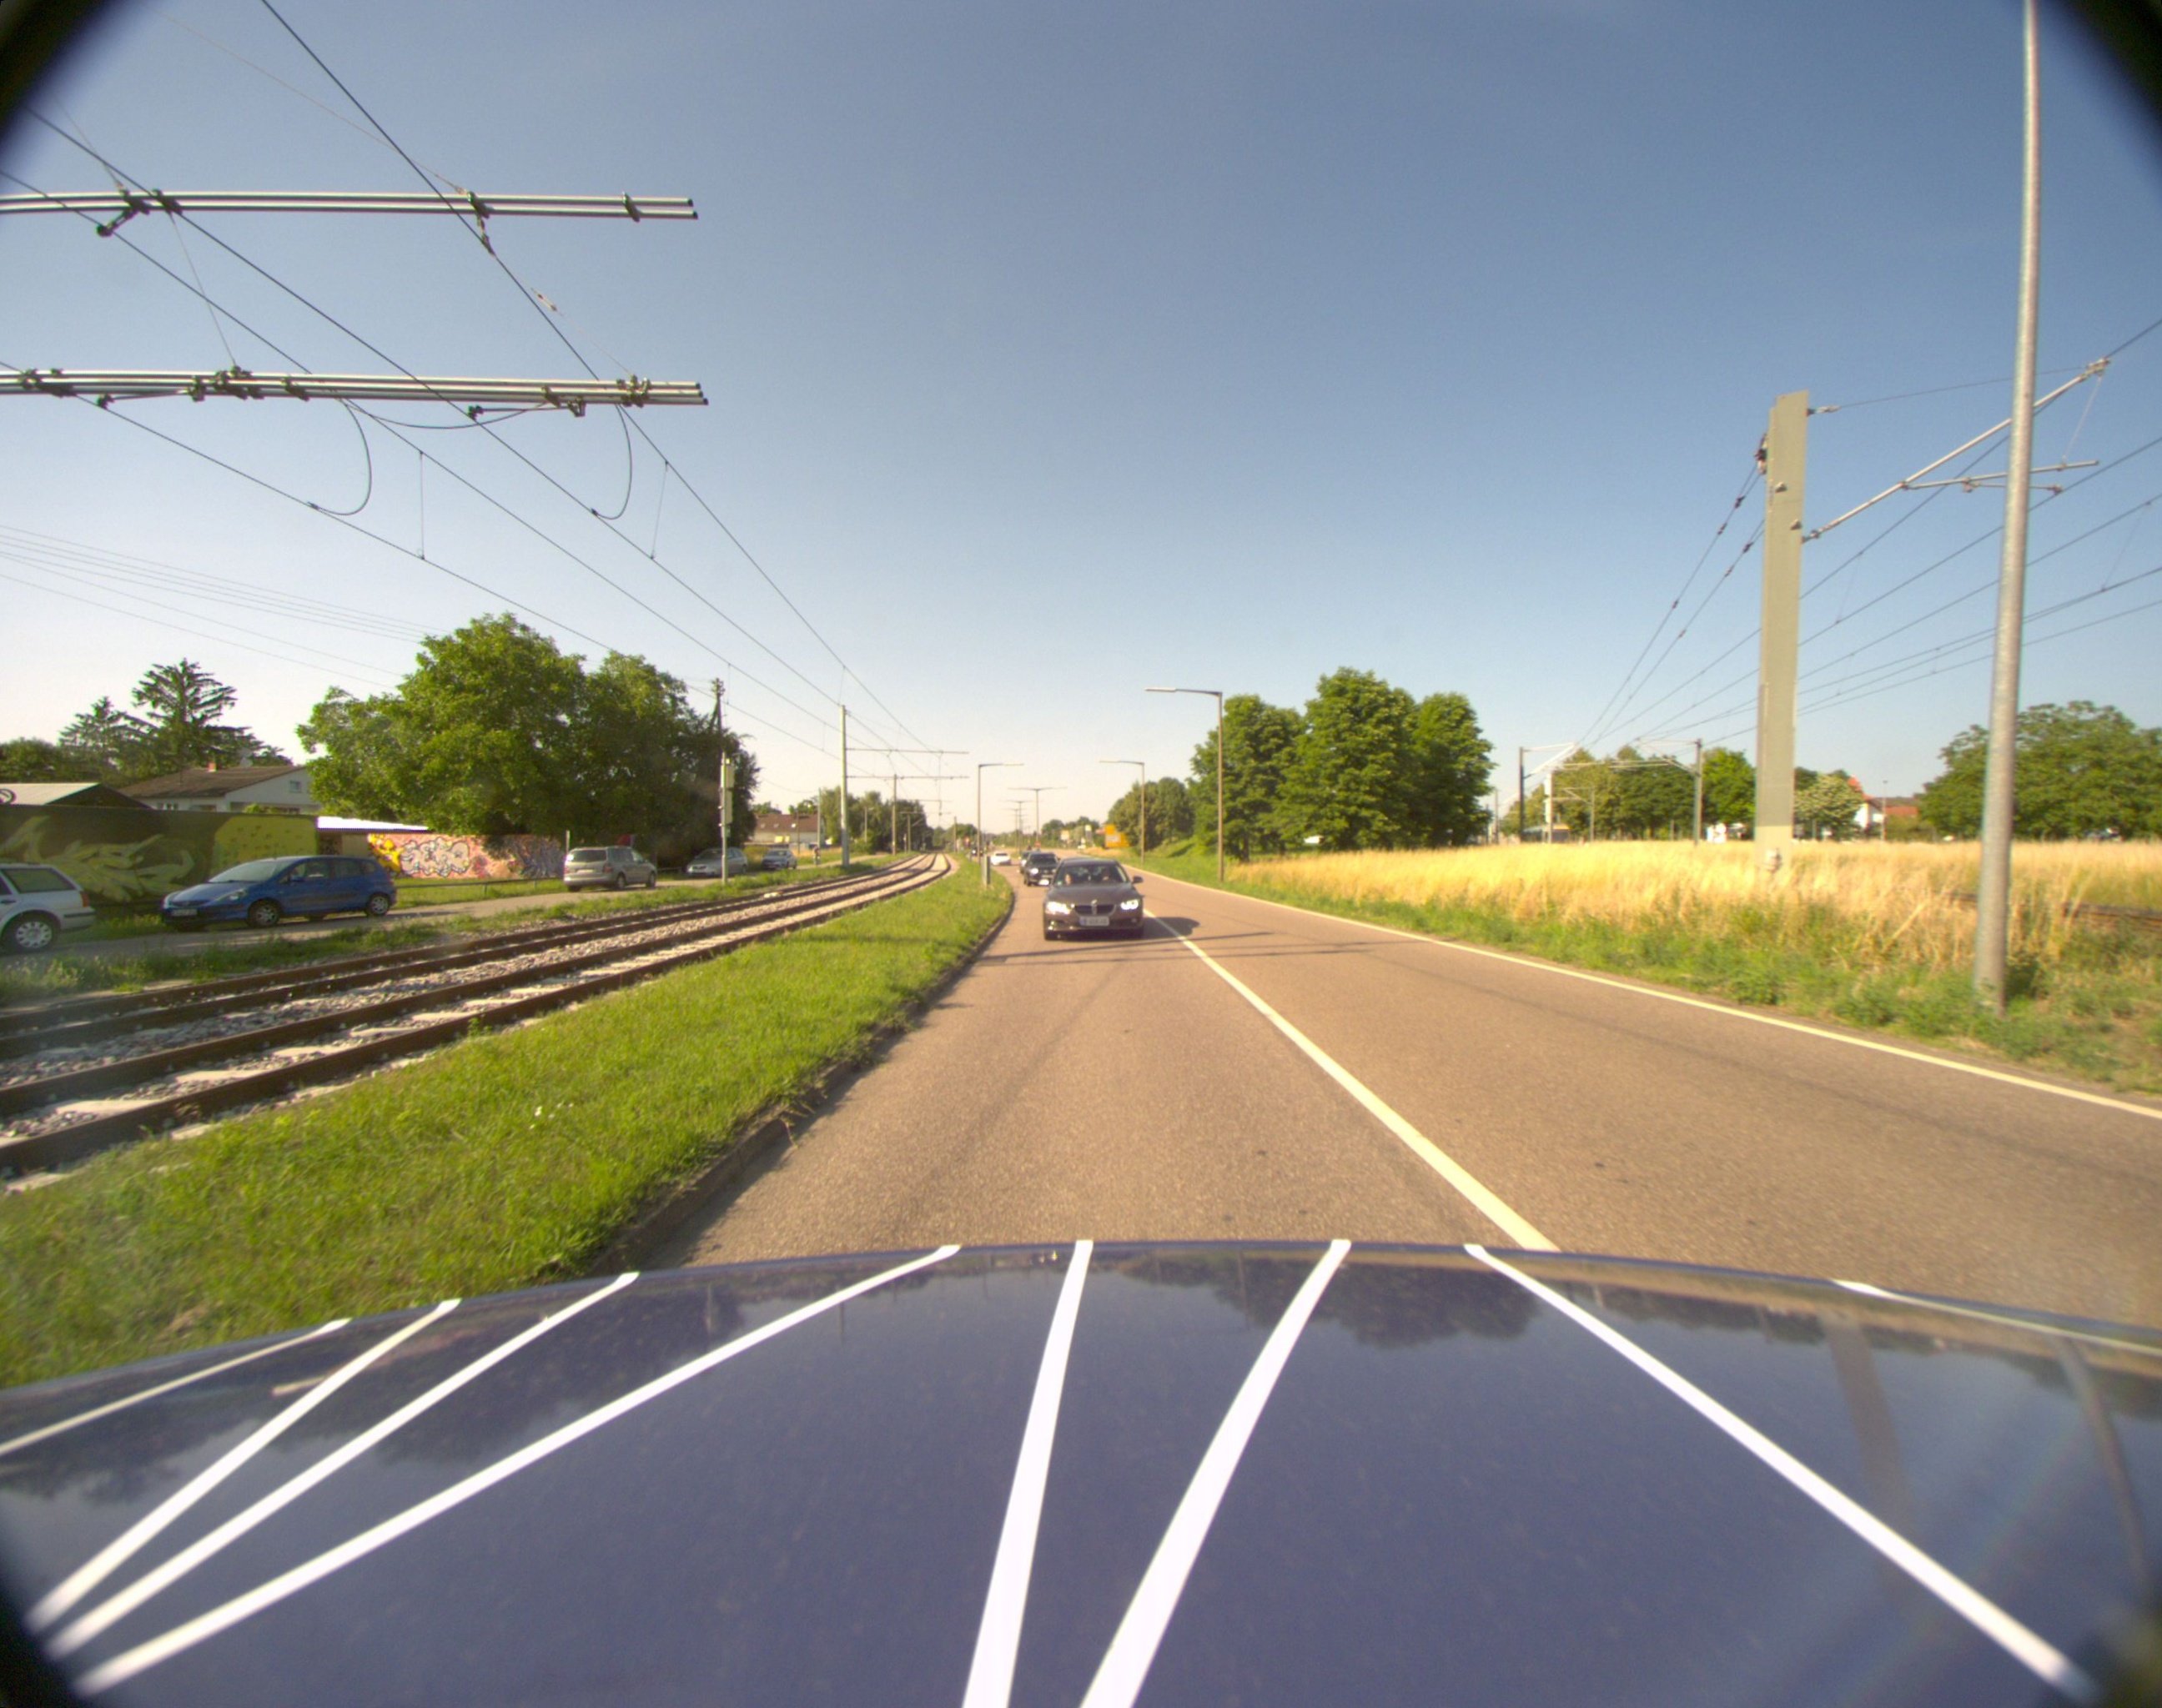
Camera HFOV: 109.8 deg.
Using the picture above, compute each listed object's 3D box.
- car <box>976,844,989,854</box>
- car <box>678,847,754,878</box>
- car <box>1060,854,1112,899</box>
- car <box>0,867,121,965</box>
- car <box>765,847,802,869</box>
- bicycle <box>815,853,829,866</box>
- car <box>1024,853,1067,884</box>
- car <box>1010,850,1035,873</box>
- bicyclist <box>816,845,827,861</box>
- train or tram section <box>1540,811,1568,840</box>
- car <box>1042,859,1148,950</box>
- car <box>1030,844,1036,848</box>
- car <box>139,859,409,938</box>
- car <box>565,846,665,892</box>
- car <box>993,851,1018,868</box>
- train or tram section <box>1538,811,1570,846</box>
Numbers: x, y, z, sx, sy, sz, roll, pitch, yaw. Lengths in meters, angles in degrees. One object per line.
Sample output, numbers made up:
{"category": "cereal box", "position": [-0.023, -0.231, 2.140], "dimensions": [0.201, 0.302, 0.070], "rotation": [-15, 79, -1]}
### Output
{"category": "car", "position": [-15.855, -0.732, 121.721], "dimensions": [1.838, 1.504, 4.149], "rotation": [-2, 1, -10]}
{"category": "car", "position": [-19.326, 0.395, 40.474], "dimensions": [1.912, 1.581, 4.725], "rotation": [0, 1, -3]}
{"category": "car", "position": [0.151, 0.767, 27.818], "dimensions": [1.711, 1.444, 4.589], "rotation": [-2, 0, 0]}
{"category": "car", "position": [-17.347, 0.981, 10.841], "dimensions": [1.714, 1.457, 4.389], "rotation": [0, 1, 0]}
{"category": "car", "position": [-20.602, 0.249, 52.825], "dimensions": [1.539, 1.440, 4.127], "rotation": [0, 1, -9]}
{"category": "bicycle", "position": [-20.109, 0.425, 58.972], "dimensions": [0.645, 0.904, 1.812], "rotation": [-2, 1, -7]}
{"category": "car", "position": [-1.849, 0.699, 38.095], "dimensions": [1.848, 1.348, 4.151], "rotation": [-2, 1, -6]}
{"category": "car", "position": [-4.358, 0.513, 56.124], "dimensions": [1.608, 1.504, 4.265], "rotation": [-2, 1, -6]}
{"category": "bicyclist", "position": [-20.112, -0.094, 58.900], "dimensions": [0.641, 1.226, 0.790], "rotation": [-2, 1, -7]}
{"category": "train or tram section", "position": [61.448, -3.735, 98.637], "dimensions": [2.919, 3.435, 12.186], "rotation": [-1, 2, 33]}
{"category": "car", "position": [0.170, 0.865, 14.830], "dimensions": [1.748, 1.444, 3.945], "rotation": [-2, 0, -2]}
{"category": "car", "position": [-16.225, -2.726, 255.551], "dimensions": [1.564, 1.369, 3.381], "rotation": [-3, 2, -12]}
{"category": "car", "position": [-17.517, 0.877, 16.825], "dimensions": [1.682, 1.422, 3.911], "rotation": [-2, 1, 1]}
{"category": "car", "position": [-17.520, 0.513, 28.806], "dimensions": [1.527, 1.601, 4.480], "rotation": [0, 1, -7]}
{"category": "car", "position": [-7.819, 0.549, 78.429], "dimensions": [1.970, 1.609, 4.302], "rotation": [-1, 1, -12]}
{"category": "train or tram section", "position": [54.408, -3.035, 87.456], "dimensions": [2.908, 3.549, 14.282], "rotation": [-1, 3, 32]}
